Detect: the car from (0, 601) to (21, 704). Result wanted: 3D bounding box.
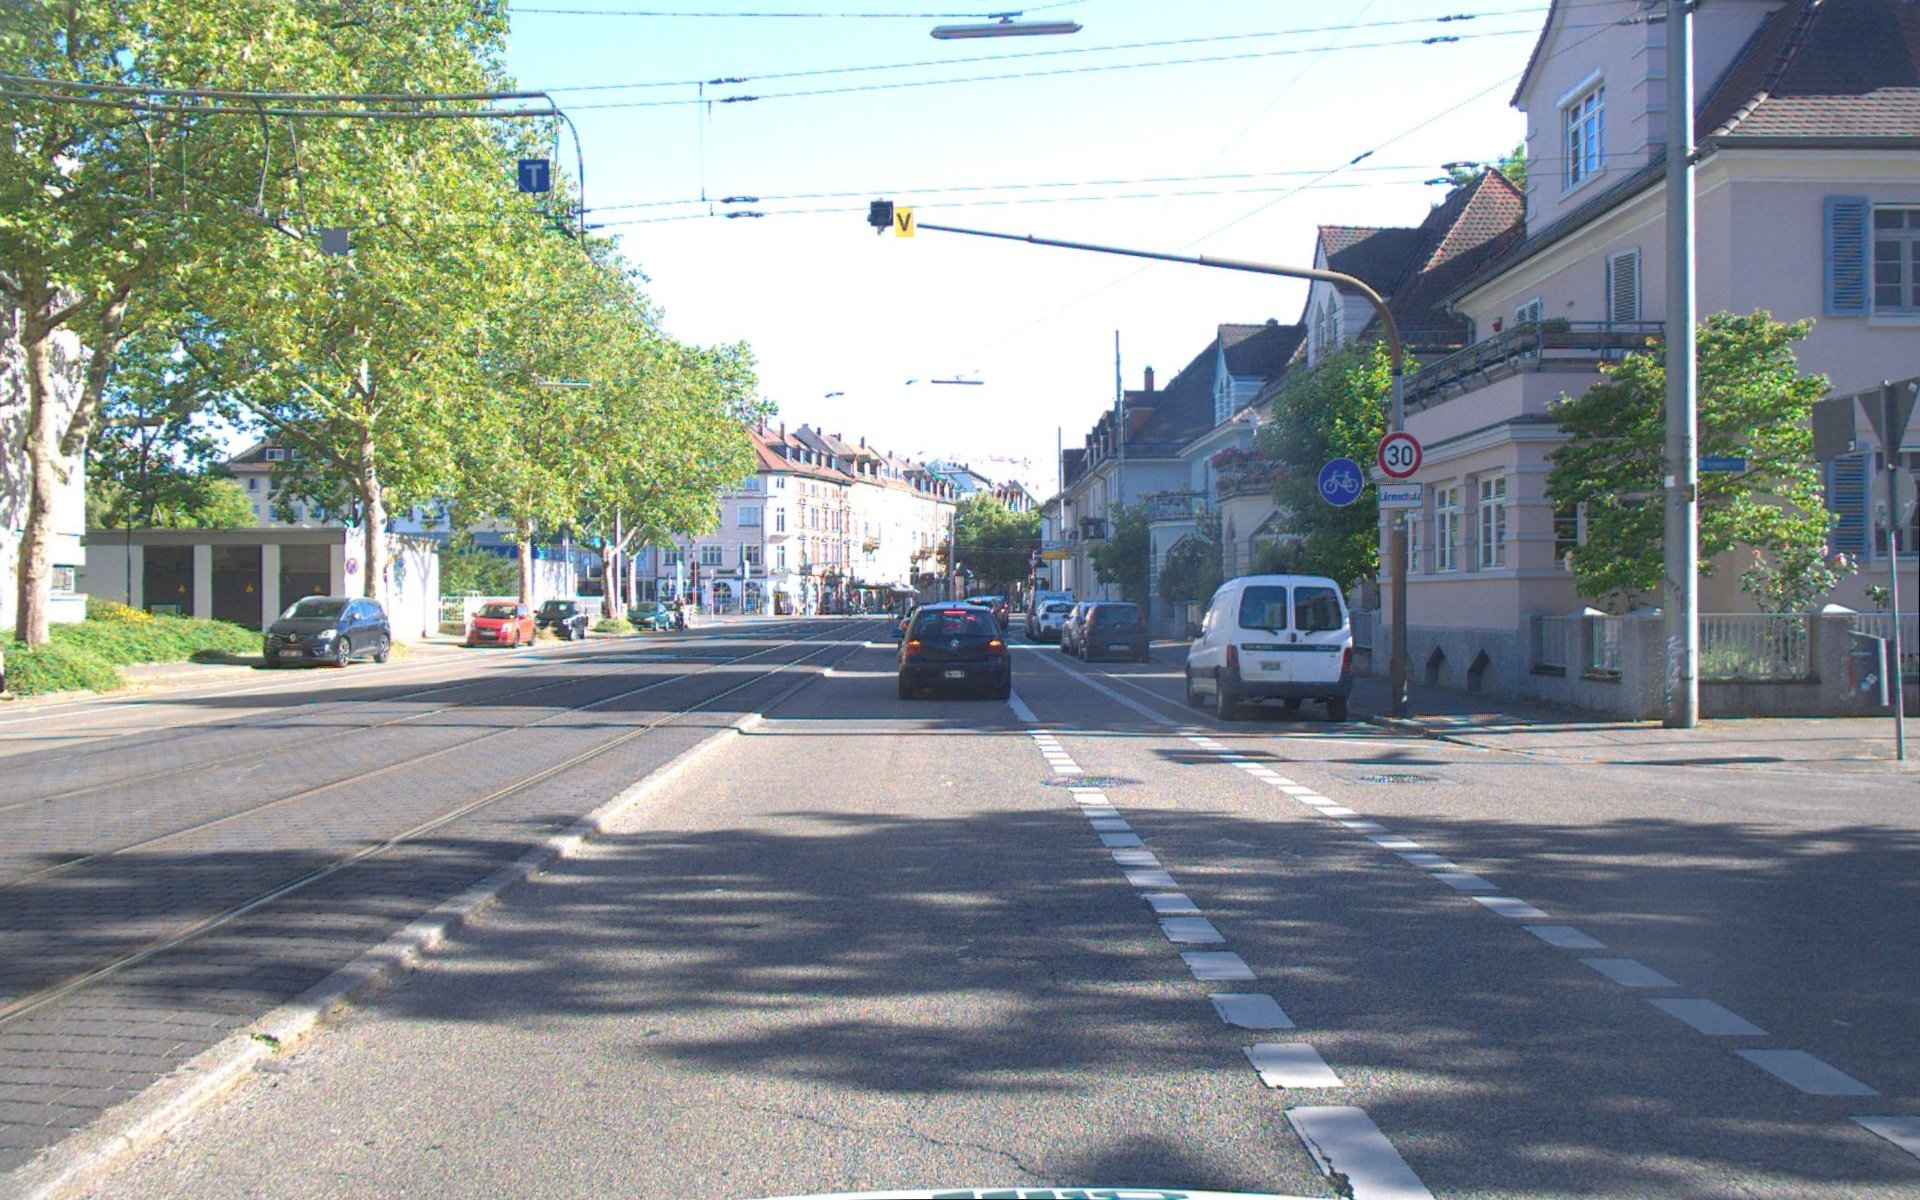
[{"bbox_3d":[-15.179,0.795,23.347,1.542,1.533,4.089,1,0,-1],"label":"car"}]

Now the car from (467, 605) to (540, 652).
[{"bbox_3d":[-15.611,0.957,56.679,1.538,1.560,3.571,0,-1,-1],"label":"car"}]

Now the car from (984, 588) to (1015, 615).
[{"bbox_3d":[2.265,0.088,95.632,1.603,1.498,3.728,0,0,-1],"label":"car"}]

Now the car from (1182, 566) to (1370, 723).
[{"bbox_3d":[4.101,0.531,21.982,1.723,1.870,3.547,1,0,-1],"label":"car"}]

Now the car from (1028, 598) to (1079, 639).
[{"bbox_3d":[3.320,0.634,59.373,1.548,1.399,3.999,0,0,-1],"label":"car"}]

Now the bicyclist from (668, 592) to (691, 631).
[{"bbox_3d":[-13.520,0.558,79.761,0.895,1.865,0.960,1,0,-1],"label":"bicyclist"}]

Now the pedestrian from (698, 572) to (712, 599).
[{"bbox_3d":[-24.949,-1.393,161.611,1.199,2.585,1.349,1,0,-5],"label":"pedestrian"}]

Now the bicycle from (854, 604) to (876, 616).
[{"bbox_3d":[-9.202,0.961,160.106,2.046,1.161,0.921,1,0,-5],"label":"bicycle"}]

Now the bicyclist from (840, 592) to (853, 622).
[{"bbox_3d":[-8.090,0.500,117.905,0.858,2.044,0.706,1,0,-1],"label":"bicyclist"}]

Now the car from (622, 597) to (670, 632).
[{"bbox_3d":[-16.170,0.733,85.280,1.846,1.698,3.803,1,0,-2],"label":"car"}]

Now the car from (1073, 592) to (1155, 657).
[{"bbox_3d":[3.832,0.591,41.737,1.627,1.552,4.035,0,0,-1],"label":"car"}]

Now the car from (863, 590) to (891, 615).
[{"bbox_3d":[-5.182,0.147,103.381,1.603,1.498,3.728,1,0,-1],"label":"car"}]

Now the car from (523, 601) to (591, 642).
[{"bbox_3d":[-15.985,0.819,65.754,1.756,1.491,3.835,2,0,-1],"label":"car"}]

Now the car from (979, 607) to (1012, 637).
[{"bbox_3d":[1.879,1.162,87.522,1.603,1.498,3.728,0,0,-1],"label":"car"}]

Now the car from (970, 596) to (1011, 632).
[{"bbox_3d":[1.292,0.588,70.525,1.603,1.498,3.728,0,0,-1],"label":"car"}]

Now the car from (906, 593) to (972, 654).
[{"bbox_3d":[-0.557,0.604,45.388,1.713,1.564,3.891,-1,0,0],"label":"car"}]

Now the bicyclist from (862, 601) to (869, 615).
[{"bbox_3d":[-9.126,0.780,160.124,0.668,1.360,0.922,1,0,-4],"label":"bicyclist"}]

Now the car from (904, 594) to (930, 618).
[{"bbox_3d":[-2.681,0.347,104.225,1.603,1.498,3.728,0,0,-1],"label":"car"}]

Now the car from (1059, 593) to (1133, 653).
[{"bbox_3d":[3.752,0.615,46.099,1.713,1.564,3.955,-1,0,0],"label":"car"}]

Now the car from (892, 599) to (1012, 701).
[{"bbox_3d":[-0.189,0.716,25.724,1.713,1.399,3.998,-1,0,-2],"label":"car"}]

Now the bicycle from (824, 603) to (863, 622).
[{"bbox_3d":[-8.314,0.889,117.906,2.687,1.285,0.706,1,0,-1],"label":"bicycle"}]

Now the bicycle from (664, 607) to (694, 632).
[{"bbox_3d":[-13.528,0.939,79.720,0.895,1.102,3.202,1,0,-1],"label":"bicycle"}]

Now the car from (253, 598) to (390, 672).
[{"bbox_3d":[-15.496,0.809,40.364,1.849,1.695,3.999,0,0,-1],"label":"car"}]

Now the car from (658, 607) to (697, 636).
[{"bbox_3d":[-15.644,1.180,91.736,1.603,1.498,3.728,0,0,-1],"label":"car"}]

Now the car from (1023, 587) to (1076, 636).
[{"bbox_3d":[3.450,0.442,64.347,1.780,1.830,3.999,0,0,-1],"label":"car"}]
